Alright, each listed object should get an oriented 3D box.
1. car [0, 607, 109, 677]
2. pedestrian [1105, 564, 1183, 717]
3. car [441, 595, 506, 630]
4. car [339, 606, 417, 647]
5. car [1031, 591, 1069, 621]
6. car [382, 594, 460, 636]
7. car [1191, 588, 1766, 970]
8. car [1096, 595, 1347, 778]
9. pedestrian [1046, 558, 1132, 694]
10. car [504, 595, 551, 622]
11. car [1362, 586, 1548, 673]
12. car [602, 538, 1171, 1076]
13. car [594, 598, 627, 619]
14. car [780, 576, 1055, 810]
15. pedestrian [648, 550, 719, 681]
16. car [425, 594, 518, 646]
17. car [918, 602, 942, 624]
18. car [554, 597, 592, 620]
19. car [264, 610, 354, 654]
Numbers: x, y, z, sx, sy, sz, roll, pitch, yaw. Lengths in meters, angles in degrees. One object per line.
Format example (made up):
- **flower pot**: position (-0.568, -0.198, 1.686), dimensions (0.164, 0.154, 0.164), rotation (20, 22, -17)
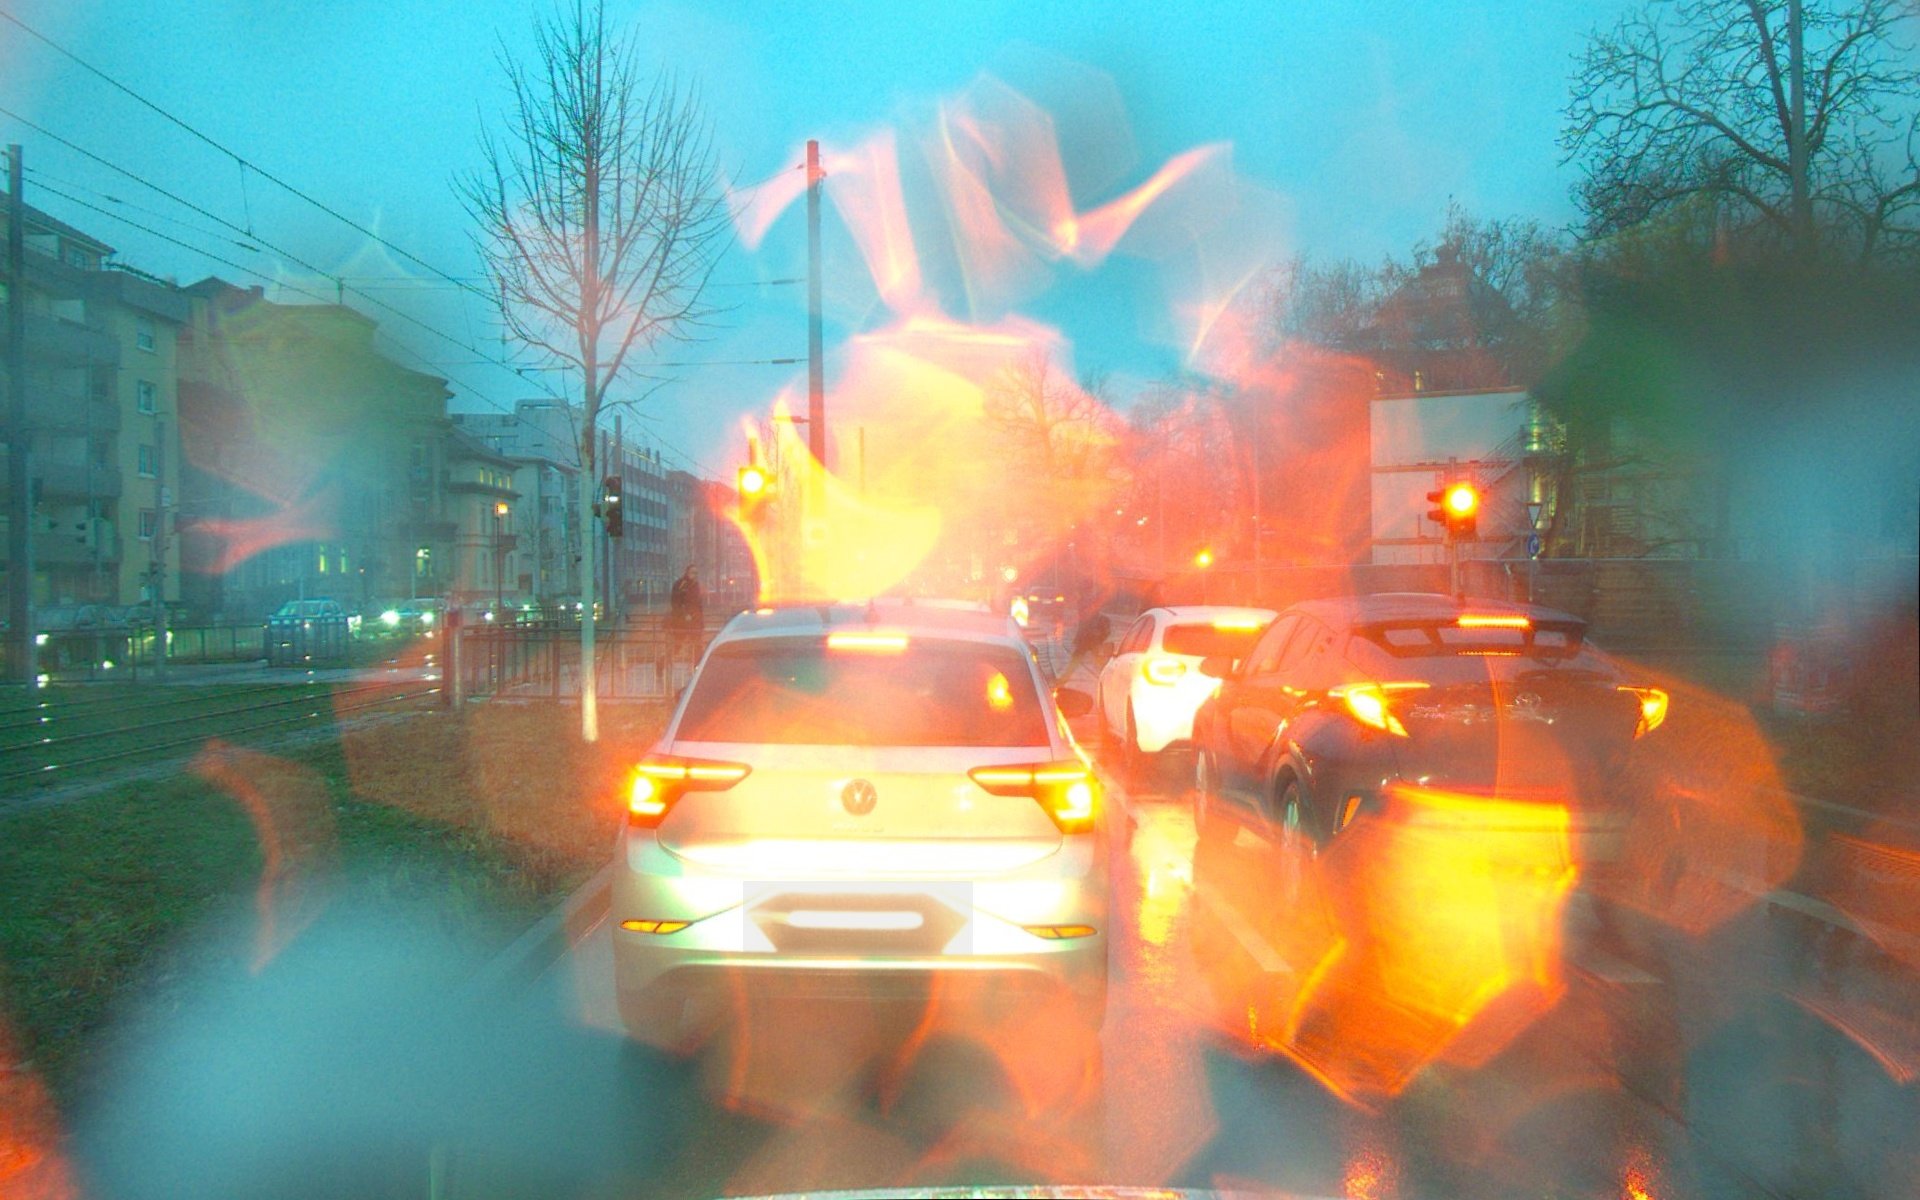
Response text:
- **car**: position (-20.416, 0.864, 35.740), dimensions (1.821, 1.355, 4.314), rotation (1, 0, -1)
- **pedestrian**: position (2.527, 0.546, 22.787), dimensions (0.939, 2.049, 1.007), rotation (-1, 0, 0)
- **car**: position (-23.260, 0.583, 79.201), dimensions (1.910, 1.630, 4.000), rotation (1, 0, 0)
- **car**: position (-24.814, 1.113, 70.706), dimensions (1.910, 1.630, 4.000), rotation (1, 0, 0)
- **car**: position (4.590, 0.287, 84.638), dimensions (1.702, 1.444, 3.703), rotation (-1, 1, -1)
- **car**: position (-21.468, 0.581, 66.042), dimensions (1.829, 1.604, 3.999), rotation (-1, 0, -1)
- **car**: position (2.388, 0.719, 8.693), dimensions (1.763, 1.537, 3.895), rotation (-1, 0, -1)
- **car**: position (2.292, 0.706, 15.375), dimensions (1.710, 1.458, 3.731), rotation (1, 0, 0)
- **pedestrian**: position (1.985, 0.387, 25.524), dimensions (0.946, 2.049, 1.000), rotation (-1, 0, -23)
- **car**: position (-27.246, 0.502, 104.273), dimensions (1.910, 1.630, 4.000), rotation (1, 0, 0)
- **car**: position (11.978, 0.691, 40.191), dimensions (4.181, 1.977, 2.001), rotation (1, 0, 16)
- **car**: position (-0.345, 0.589, 6.859), dimensions (1.660, 1.560, 3.997), rotation (1, 0, -4)
- **car**: position (-28.591, 0.678, 135.395), dimensions (1.910, 1.630, 4.000), rotation (1, 0, 0)
- **car**: position (-0.298, 0.582, 13.039), dimensions (1.762, 1.492, 4.585), rotation (-1, 1, -1)
- **pedestrian**: position (-4.463, 0.237, 26.675), dimensions (0.988, 2.049, 0.957), rotation (-1, 0, -17)
- **car**: position (-16.166, 0.630, 54.935), dimensions (1.953, 1.630, 3.999), rotation (1, 0, -2)
- **car**: position (-2.167, 0.942, 120.526), dimensions (1.702, 1.444, 4.393), rotation (-1, 1, -1)
- **car**: position (-28.666, 0.641, 122.564), dimensions (1.910, 1.630, 4.000), rotation (1, 0, 0)
- **car**: position (-20.864, 0.992, 53.138), dimensions (1.658, 1.300, 4.142), rotation (-1, 0, -7)
